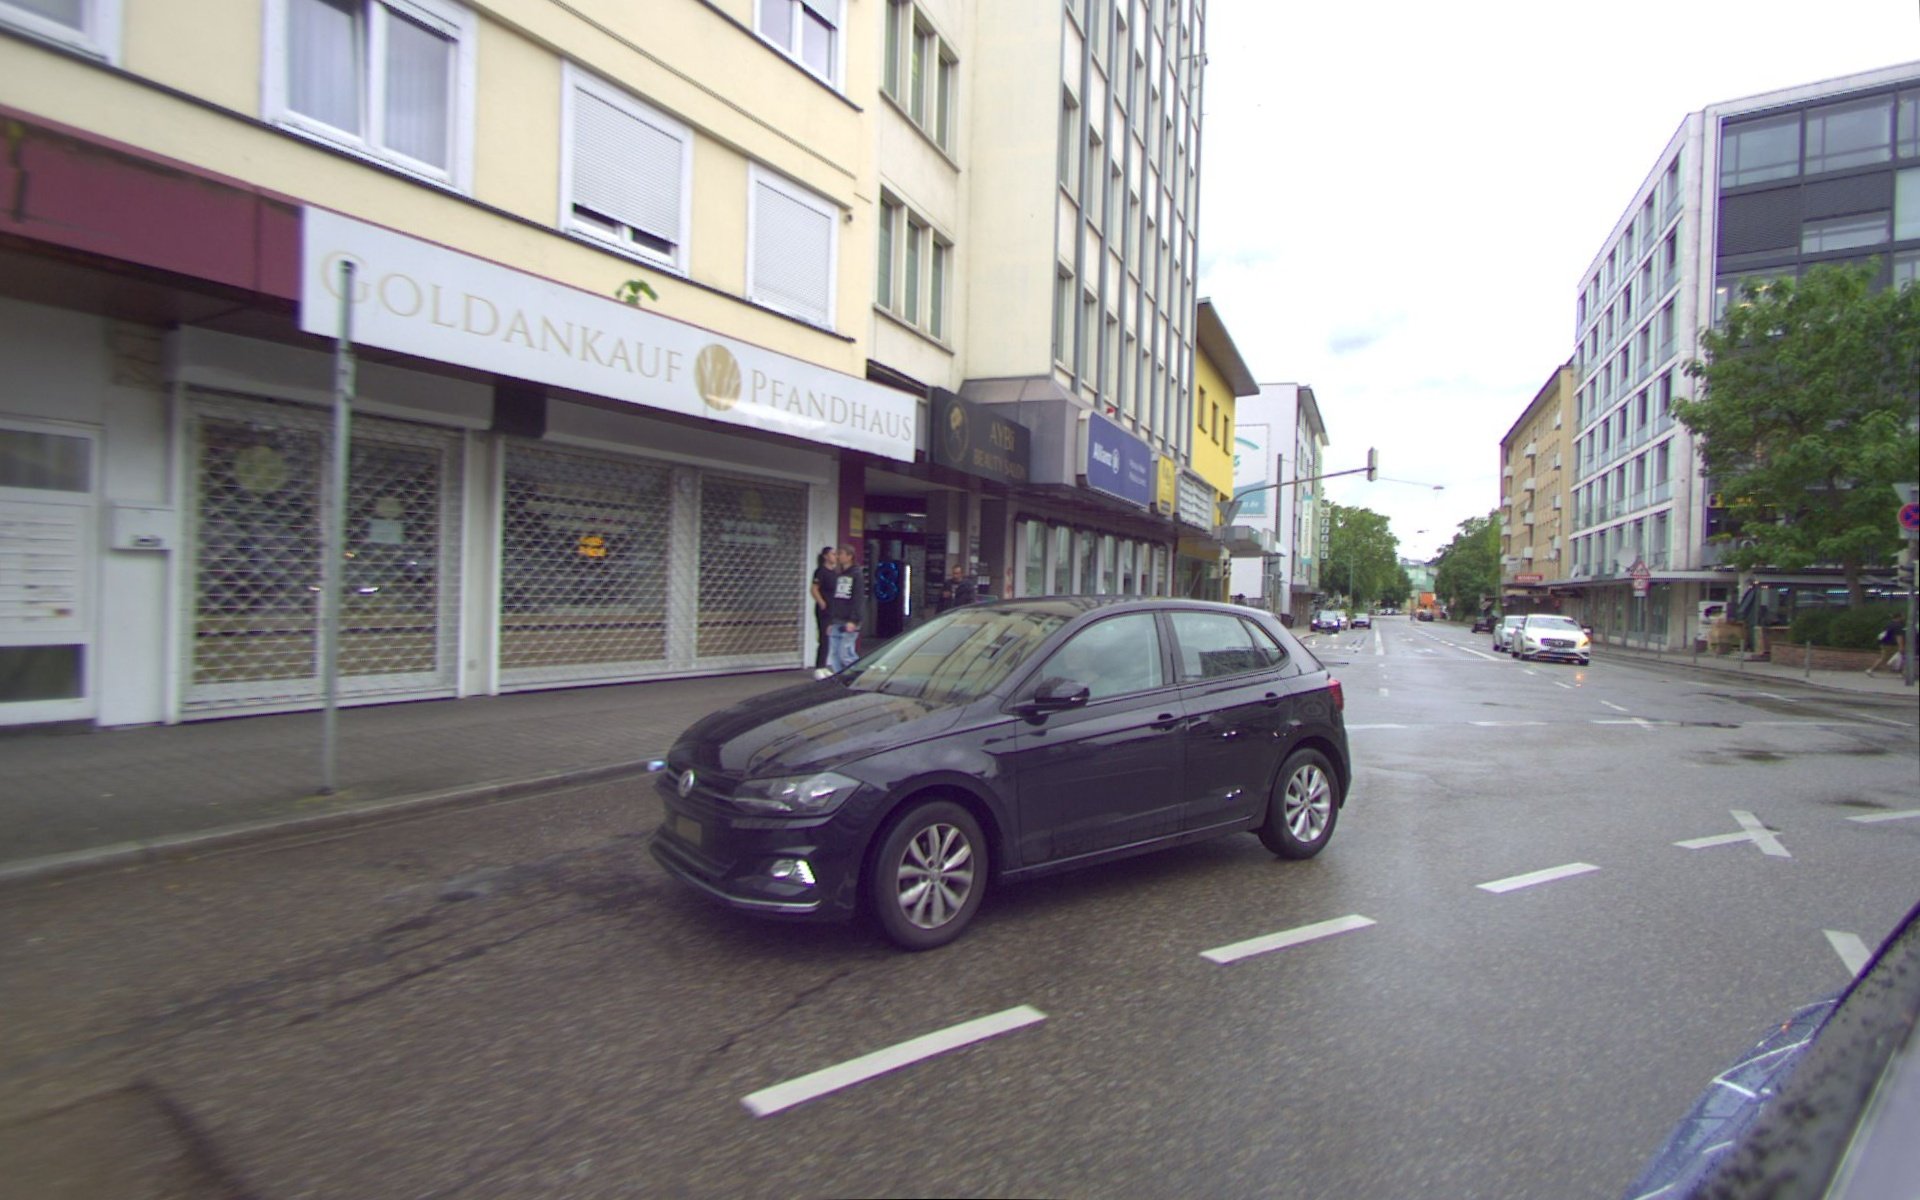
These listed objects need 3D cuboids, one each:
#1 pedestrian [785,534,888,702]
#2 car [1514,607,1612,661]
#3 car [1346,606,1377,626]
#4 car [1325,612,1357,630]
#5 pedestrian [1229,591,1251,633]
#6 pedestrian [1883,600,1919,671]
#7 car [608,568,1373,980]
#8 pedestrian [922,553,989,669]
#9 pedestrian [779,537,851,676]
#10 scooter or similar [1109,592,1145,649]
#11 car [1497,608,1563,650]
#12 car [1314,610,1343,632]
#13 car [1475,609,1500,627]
[{"bbox_3d":[-1.401,0.189,11.464,0.831,1.786,0.611,5,1,28],"label":"pedestrian"},{"bbox_3d":[18.292,0.979,30.878,1.953,1.405,3.968,3,1,23],"label":"car"},{"bbox_3d":[36.719,1.403,92.603,1.969,1.639,4.110,1,1,12],"label":"car"},{"bbox_3d":[32.596,1.789,86.725,1.969,1.472,3.984,0,-1,13],"label":"car"},{"bbox_3d":[11.367,0.485,41.098,0.730,1.666,0.636,-1,0,25],"label":"pedestrian"},{"bbox_3d":[24.870,0.922,26.561,0.781,1.837,0.587,-1,-2,28],"label":"pedestrian"},{"bbox_3d":[0.316,0.635,5.390,3.806,1.449,1.743,1,-1,-35],"label":"car"},{"bbox_3d":[-0.077,0.167,15.668,0.739,1.744,0.754,0,-1,-34],"label":"pedestrian"},{"bbox_3d":[-1.940,0.085,13.524,0.773,1.785,0.617,0,-1,-34],"label":"pedestrian"},{"bbox_3d":[4.124,0.494,24.950,0.375,1.377,1.132,0,0,39],"label":"scooter or similar"},{"bbox_3d":[21.947,1.071,39.100,1.790,1.517,3.968,0,0,23],"label":"car"},{"bbox_3d":[25.041,1.402,68.680,1.765,1.472,3.970,0,-1,22],"label":"car"},{"bbox_3d":[47.742,1.615,91.687,1.809,1.594,3.965,0,-1,25],"label":"car"}]
